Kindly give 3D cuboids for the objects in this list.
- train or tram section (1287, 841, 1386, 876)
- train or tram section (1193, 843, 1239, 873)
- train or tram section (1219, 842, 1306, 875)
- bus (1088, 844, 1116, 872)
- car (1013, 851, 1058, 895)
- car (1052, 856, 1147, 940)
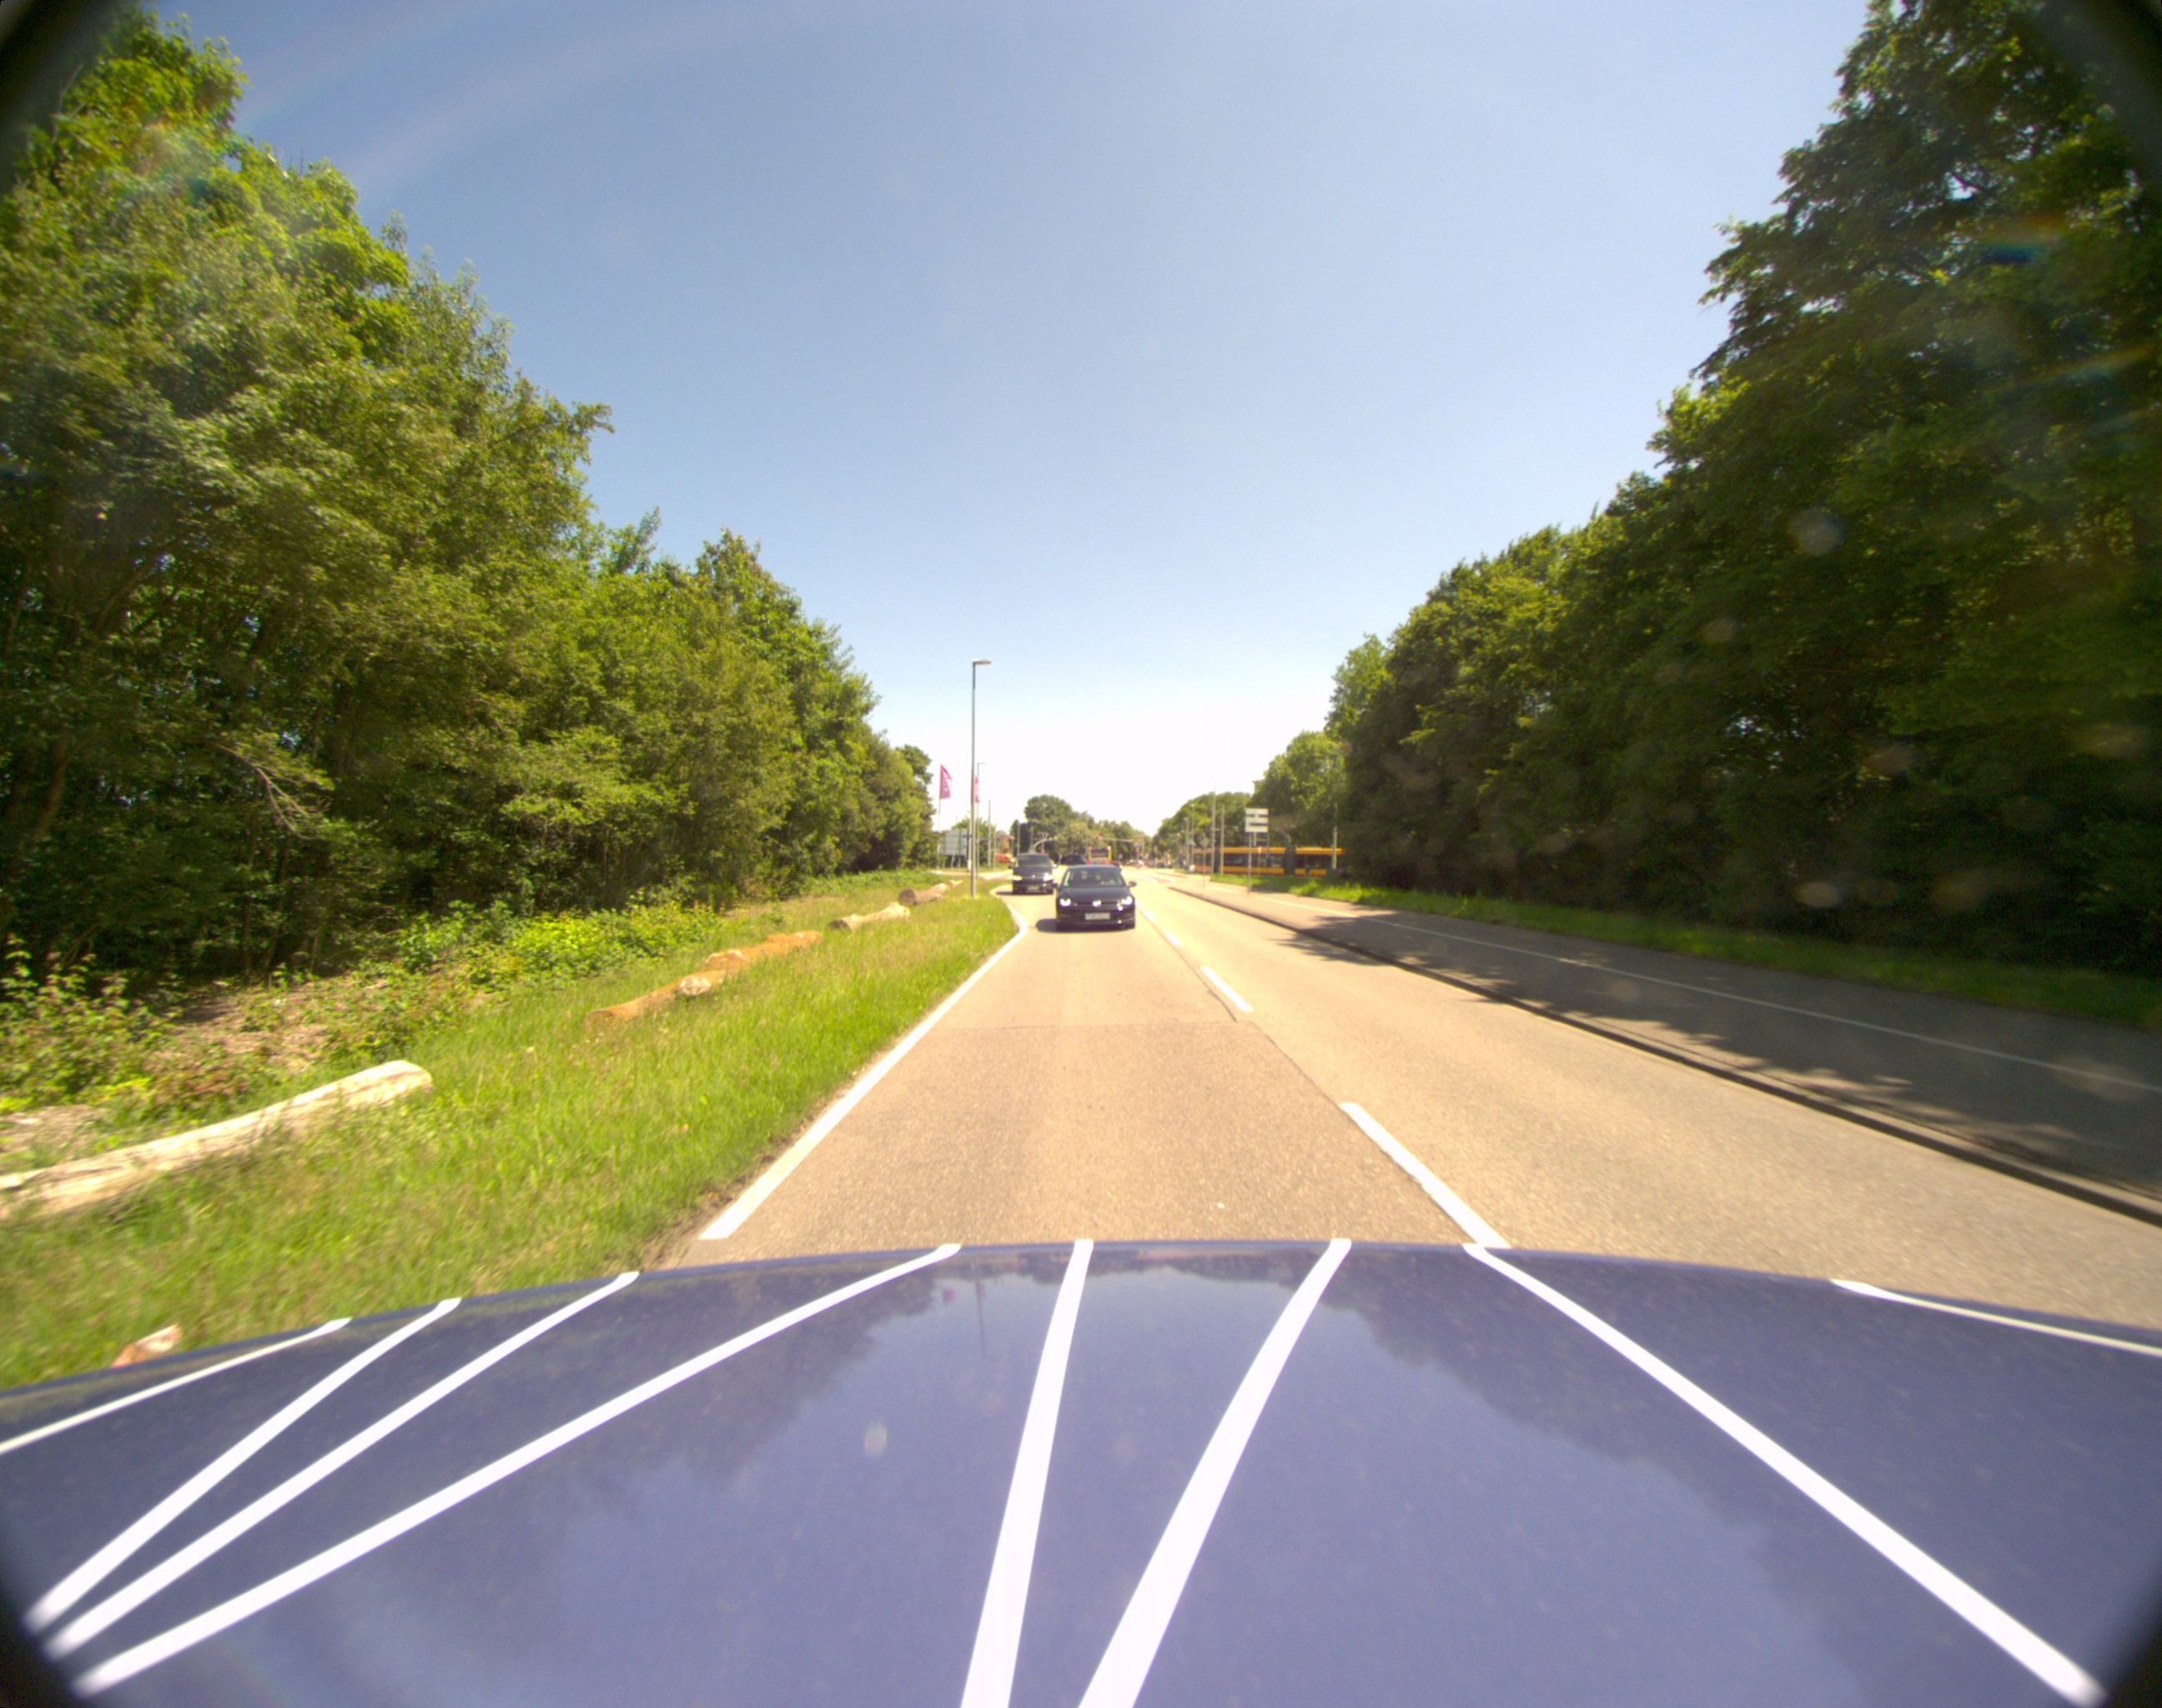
[{"bbox_3d":[26.463,0.468,78.863,9.325,3.445,2.789,0,0,33],"label":"train or tram section"},{"bbox_3d":[16.728,0.474,95.213,2.579,3.445,10.847,1,0,-7],"label":"train or tram section"},{"bbox_3d":[20.165,0.476,85.445,2.656,3.446,10.827,0,0,-32],"label":"train or tram section"},{"bbox_3d":[2.445,0.461,91.186,2.931,3.248,8.329,0,0,-1],"label":"bus"},{"bbox_3d":[-2.097,0.866,36.034,2.002,1.965,4.449,0,0,-2],"label":"car"},{"bbox_3d":[0.299,0.883,17.339,1.887,1.667,4.662,0,0,-2],"label":"car"}]
